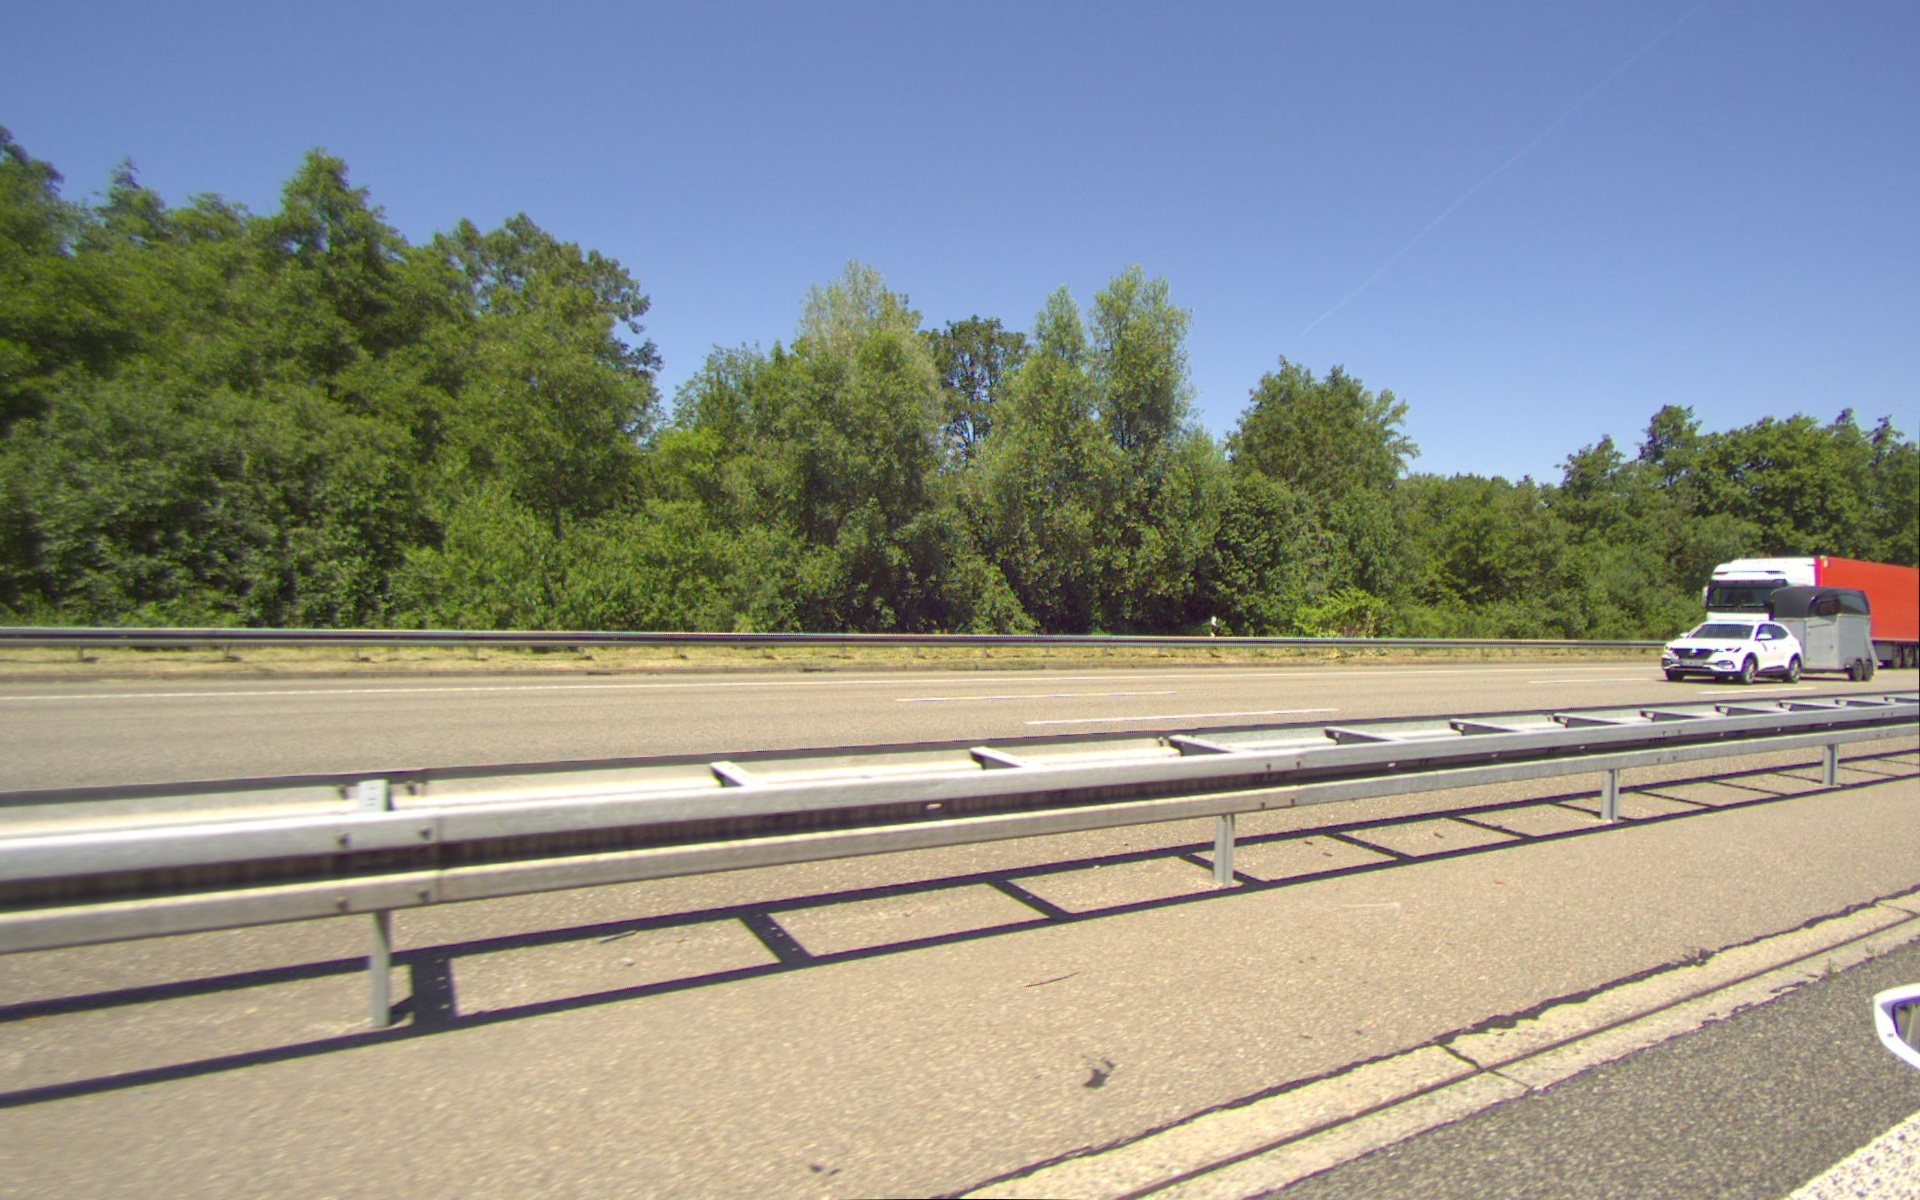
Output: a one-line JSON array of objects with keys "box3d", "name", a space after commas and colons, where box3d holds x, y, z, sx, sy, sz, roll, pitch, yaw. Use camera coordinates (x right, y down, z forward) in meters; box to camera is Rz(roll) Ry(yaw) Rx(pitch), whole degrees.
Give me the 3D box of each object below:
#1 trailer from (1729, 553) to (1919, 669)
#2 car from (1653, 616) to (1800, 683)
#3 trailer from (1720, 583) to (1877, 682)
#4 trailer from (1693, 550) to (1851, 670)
[{"box3d": [35.867, 0.553, 40.688, 13.891, 4.122, 2.670, 2, 0, -32], "name": "trailer"}, {"box3d": [20.522, 1.298, 26.868, 3.974, 1.653, 1.826, 2, -1, -32], "name": "car"}, {"box3d": [24.339, 0.920, 29.107, 4.901, 2.648, 2.074, 2, -1, -32], "name": "trailer"}, {"box3d": [30.020, 0.399, 37.093, 5.968, 4.096, 2.675, 1, 0, -31], "name": "trailer"}]
